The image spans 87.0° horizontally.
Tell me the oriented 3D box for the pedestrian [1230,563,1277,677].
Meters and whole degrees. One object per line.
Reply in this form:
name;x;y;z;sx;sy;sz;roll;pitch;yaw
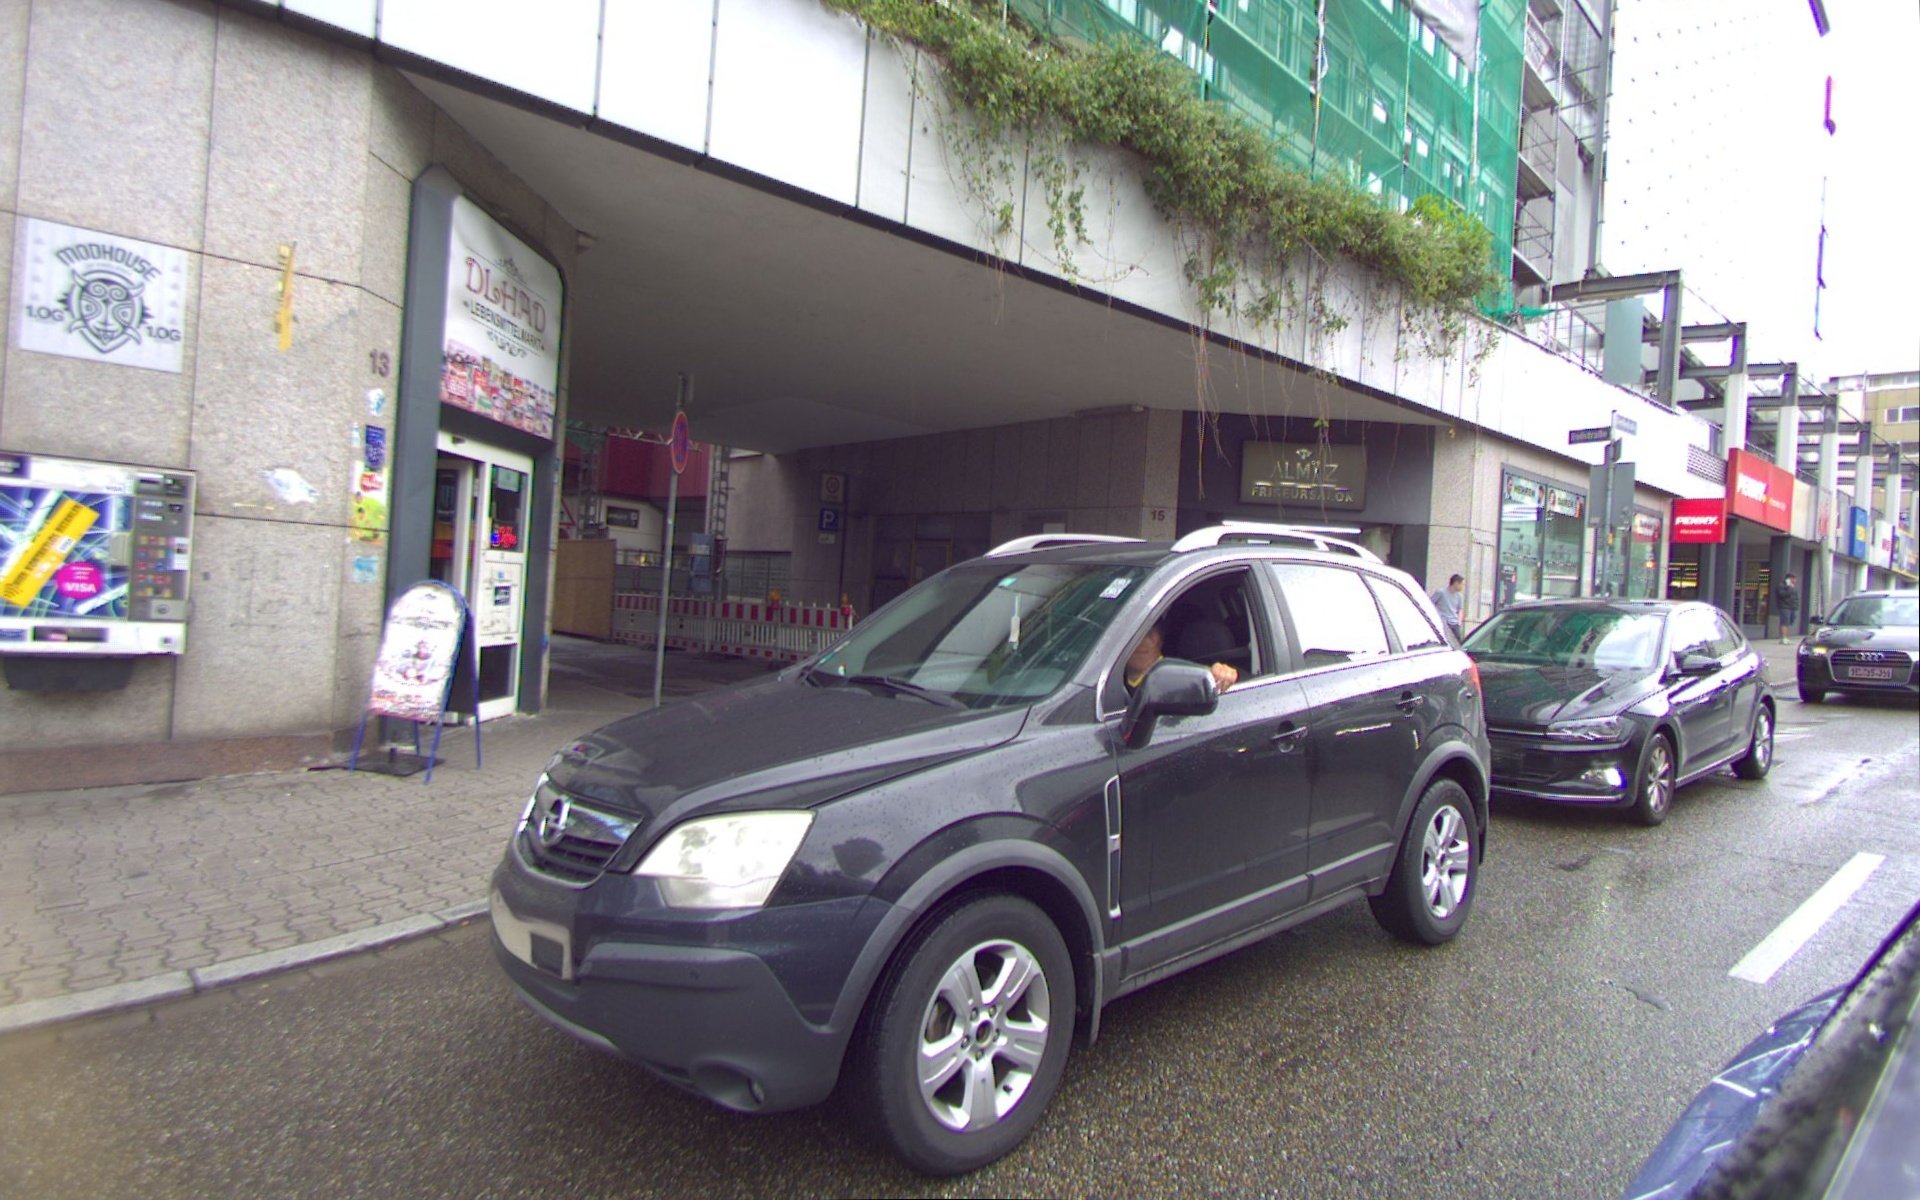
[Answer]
pedestrian;4.286;0.280;14.781;0.630;1.615;0.574;0;1;17

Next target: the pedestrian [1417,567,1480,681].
pedestrian;7.337;0.338;15.198;0.721;1.663;0.637;-1;1;-44

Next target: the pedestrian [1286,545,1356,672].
pedestrian;5.400;0.113;15.188;0.730;1.838;0.773;2;2;3

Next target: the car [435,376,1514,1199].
car;0.397;0.467;3.989;4.089;1.788;1.763;1;0;-40

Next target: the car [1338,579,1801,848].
car;4.797;0.662;7.733;4.088;1.523;1.759;1;0;-39

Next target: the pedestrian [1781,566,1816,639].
pedestrian;20.212;0.048;24.386;0.570;1.699;0.509;-1;3;-42

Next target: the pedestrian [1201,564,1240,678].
pedestrian;4.015;0.313;15.606;0.474;1.729;0.467;-1;0;1

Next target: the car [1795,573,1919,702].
car;13.536;0.451;14.379;4.089;1.628;1.841;-1;1;-39

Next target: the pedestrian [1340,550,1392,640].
pedestrian;7.606;-0.106;18.967;0.568;1.647;0.677;-1;3;-34
